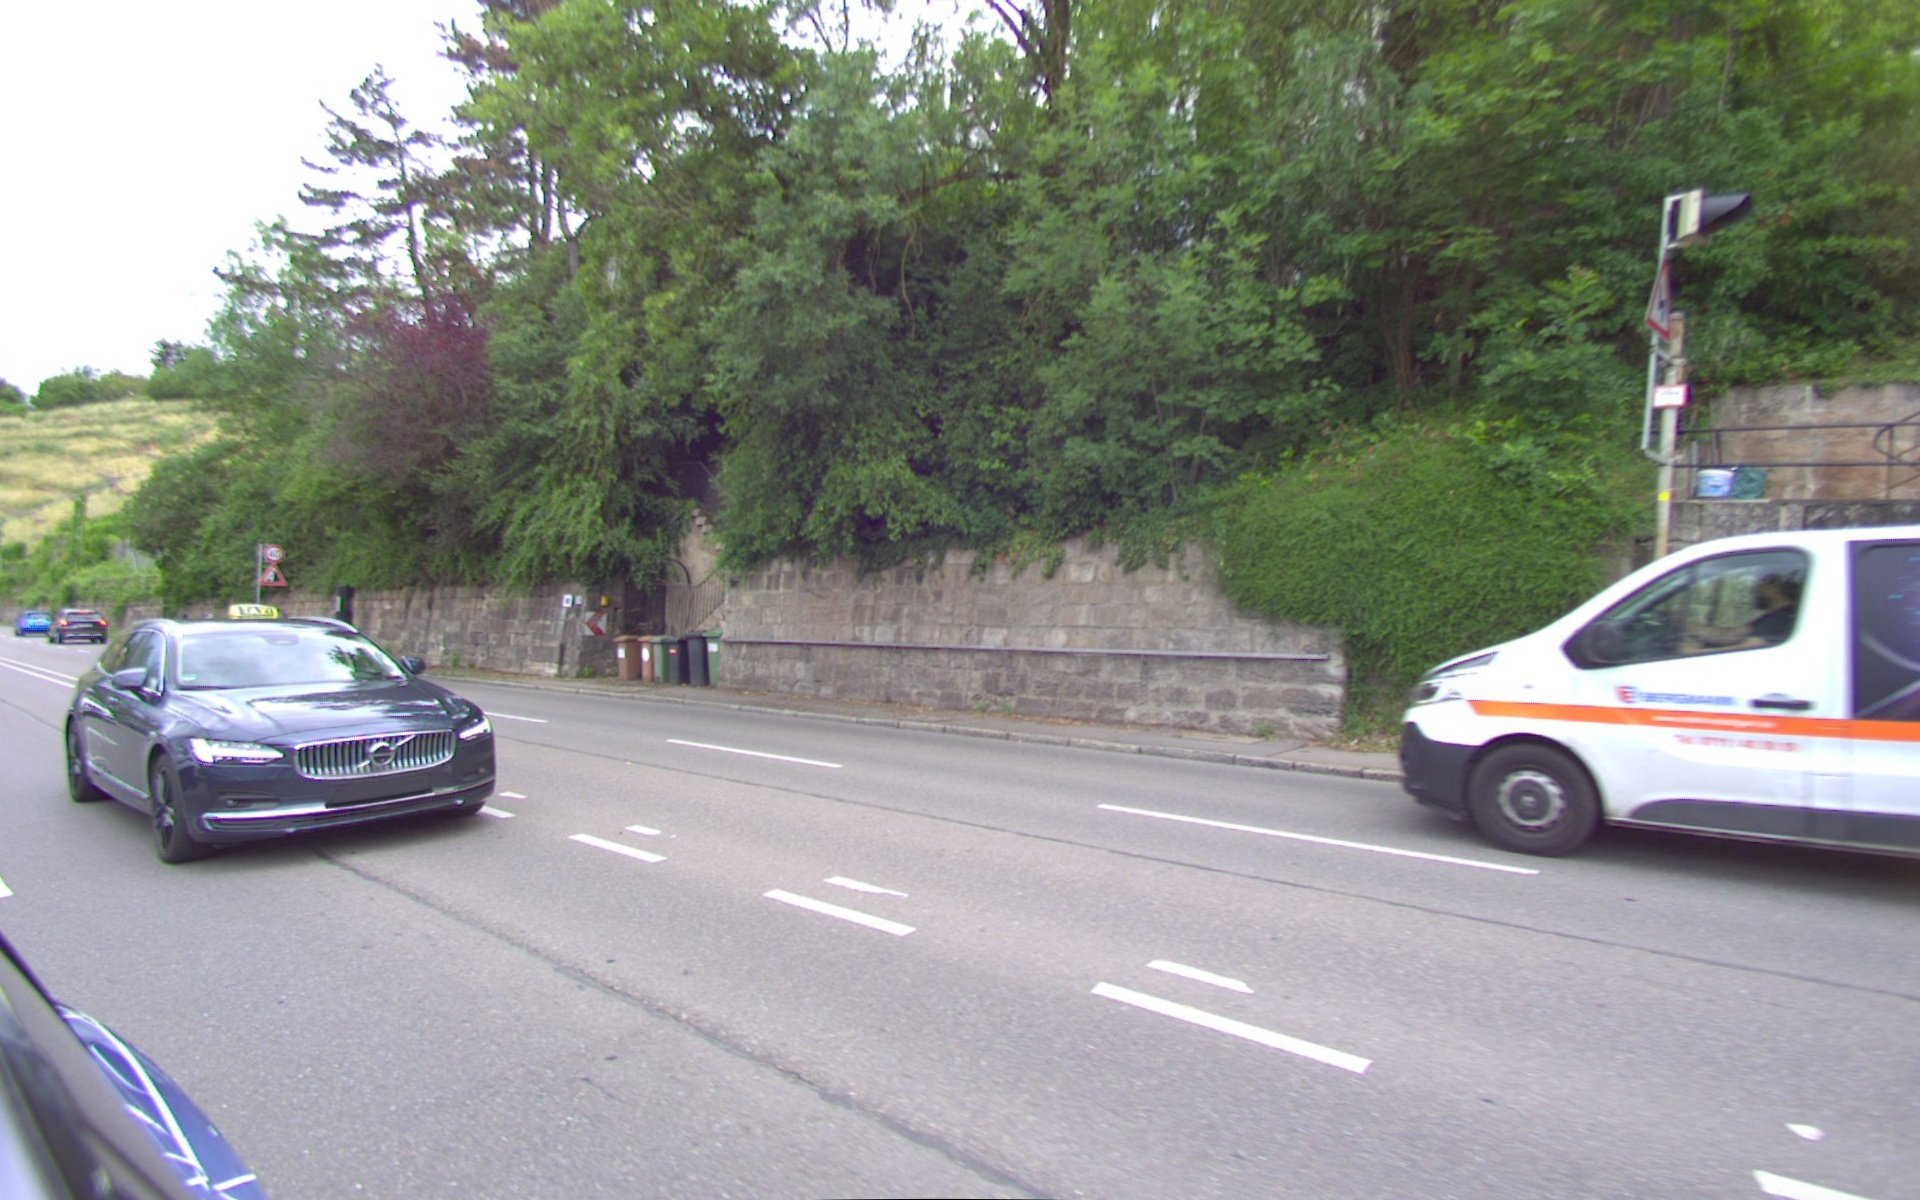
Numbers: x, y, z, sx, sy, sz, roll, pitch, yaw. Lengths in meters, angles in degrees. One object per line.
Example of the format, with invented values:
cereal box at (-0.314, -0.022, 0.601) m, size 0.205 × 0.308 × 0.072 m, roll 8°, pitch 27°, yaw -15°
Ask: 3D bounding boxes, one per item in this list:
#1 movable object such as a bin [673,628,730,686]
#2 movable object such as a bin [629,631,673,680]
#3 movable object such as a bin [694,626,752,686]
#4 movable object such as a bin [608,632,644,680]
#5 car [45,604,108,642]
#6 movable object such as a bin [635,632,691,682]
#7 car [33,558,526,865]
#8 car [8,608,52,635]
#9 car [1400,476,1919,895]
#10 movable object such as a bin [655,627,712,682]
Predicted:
movable object such as a bin at (-4.914, 1.067, 19.228) m, size 0.717 × 1.070 × 0.764 m, roll -1°, pitch -2°, yaw 38°
movable object such as a bin at (-6.304, 1.131, 20.681) m, size 0.542 × 0.973 × 0.667 m, roll -1°, pitch -2°, yaw 38°
movable object such as a bin at (-4.378, 1.029, 18.721) m, size 0.708 × 1.079 × 0.780 m, roll -2°, pitch -2°, yaw 38°
movable object such as a bin at (-6.907, 1.147, 20.926) m, size 0.473 × 0.973 × 0.512 m, roll -1°, pitch -2°, yaw 38°
car at (-42.119, 1.069, 48.239) m, size 4.469 × 1.710 × 1.796 m, roll 0°, pitch -1°, yaw 43°
movable object such as a bin at (-5.916, 1.125, 20.179) m, size 0.593 × 0.953 × 0.907 m, roll -1°, pitch -2°, yaw 38°
car at (-5.367, 0.585, 7.630) m, size 5.025 × 1.588 × 1.914 m, roll -1°, pitch 0°, yaw 42°
car at (-53.895, 1.230, 58.641) m, size 3.523 × 1.472 × 1.567 m, roll 0°, pitch 1°, yaw 42°
car at (5.450, 0.422, 5.439) m, size 5.354 × 2.020 × 1.901 m, roll -1°, pitch -1°, yaw 42°
movable object such as a bin at (-5.398, 1.047, 19.788) m, size 0.620 × 1.042 × 0.890 m, roll -1°, pitch -2°, yaw 38°
